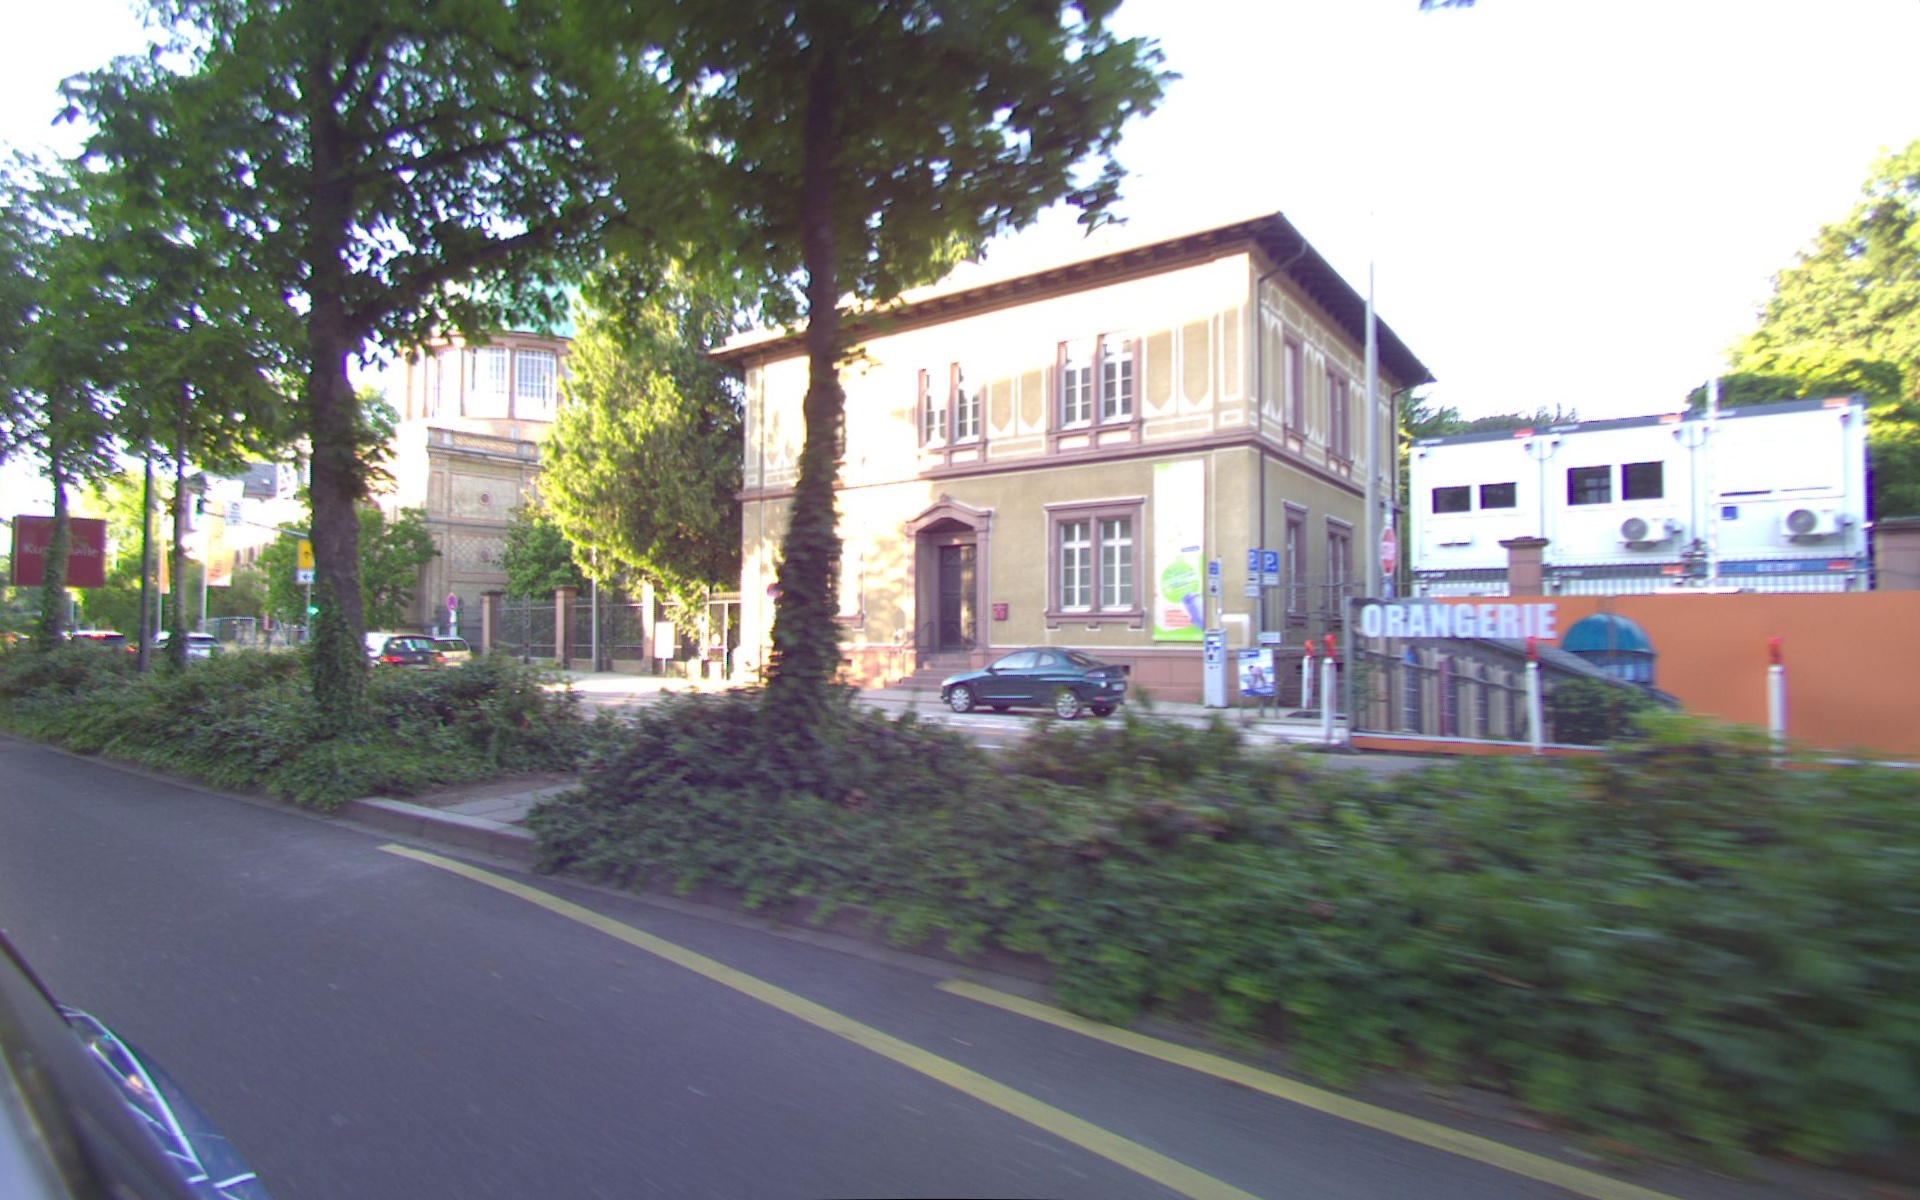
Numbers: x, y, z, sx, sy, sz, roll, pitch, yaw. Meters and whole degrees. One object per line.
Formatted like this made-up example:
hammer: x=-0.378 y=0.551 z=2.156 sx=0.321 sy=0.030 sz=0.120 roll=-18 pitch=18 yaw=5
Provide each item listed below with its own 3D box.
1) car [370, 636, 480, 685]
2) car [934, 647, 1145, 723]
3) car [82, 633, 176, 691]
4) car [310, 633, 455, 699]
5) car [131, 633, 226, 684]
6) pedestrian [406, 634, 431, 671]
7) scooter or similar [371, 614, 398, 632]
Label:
car: x=-18.675 y=2.065 z=35.253 sx=4.362 sy=1.559 sz=1.728 roll=-2 pitch=-1 yaw=37
car: x=1.531 y=1.634 z=20.067 sx=3.877 sy=1.361 sz=1.665 roll=-2 pitch=-4 yaw=34
car: x=-24.148 y=1.755 z=29.355 sx=1.823 sy=1.559 sz=4.122 roll=2 pitch=-4 yaw=-43
car: x=-15.073 y=1.686 z=26.331 sx=4.169 sy=1.563 sz=1.824 roll=-2 pitch=-4 yaw=39
car: x=-27.931 y=2.079 z=36.123 sx=4.555 sy=1.687 sz=1.823 roll=-2 pitch=-4 yaw=42
pedestrian: x=-23.759 y=2.293 z=44.414 sx=0.762 sy=1.591 sz=0.728 roll=-2 pitch=-3 yaw=39
scooter or similar: x=-24.663 y=0.995 z=43.389 sx=1.027 sy=0.783 sz=0.671 roll=-2 pitch=-3 yaw=39
